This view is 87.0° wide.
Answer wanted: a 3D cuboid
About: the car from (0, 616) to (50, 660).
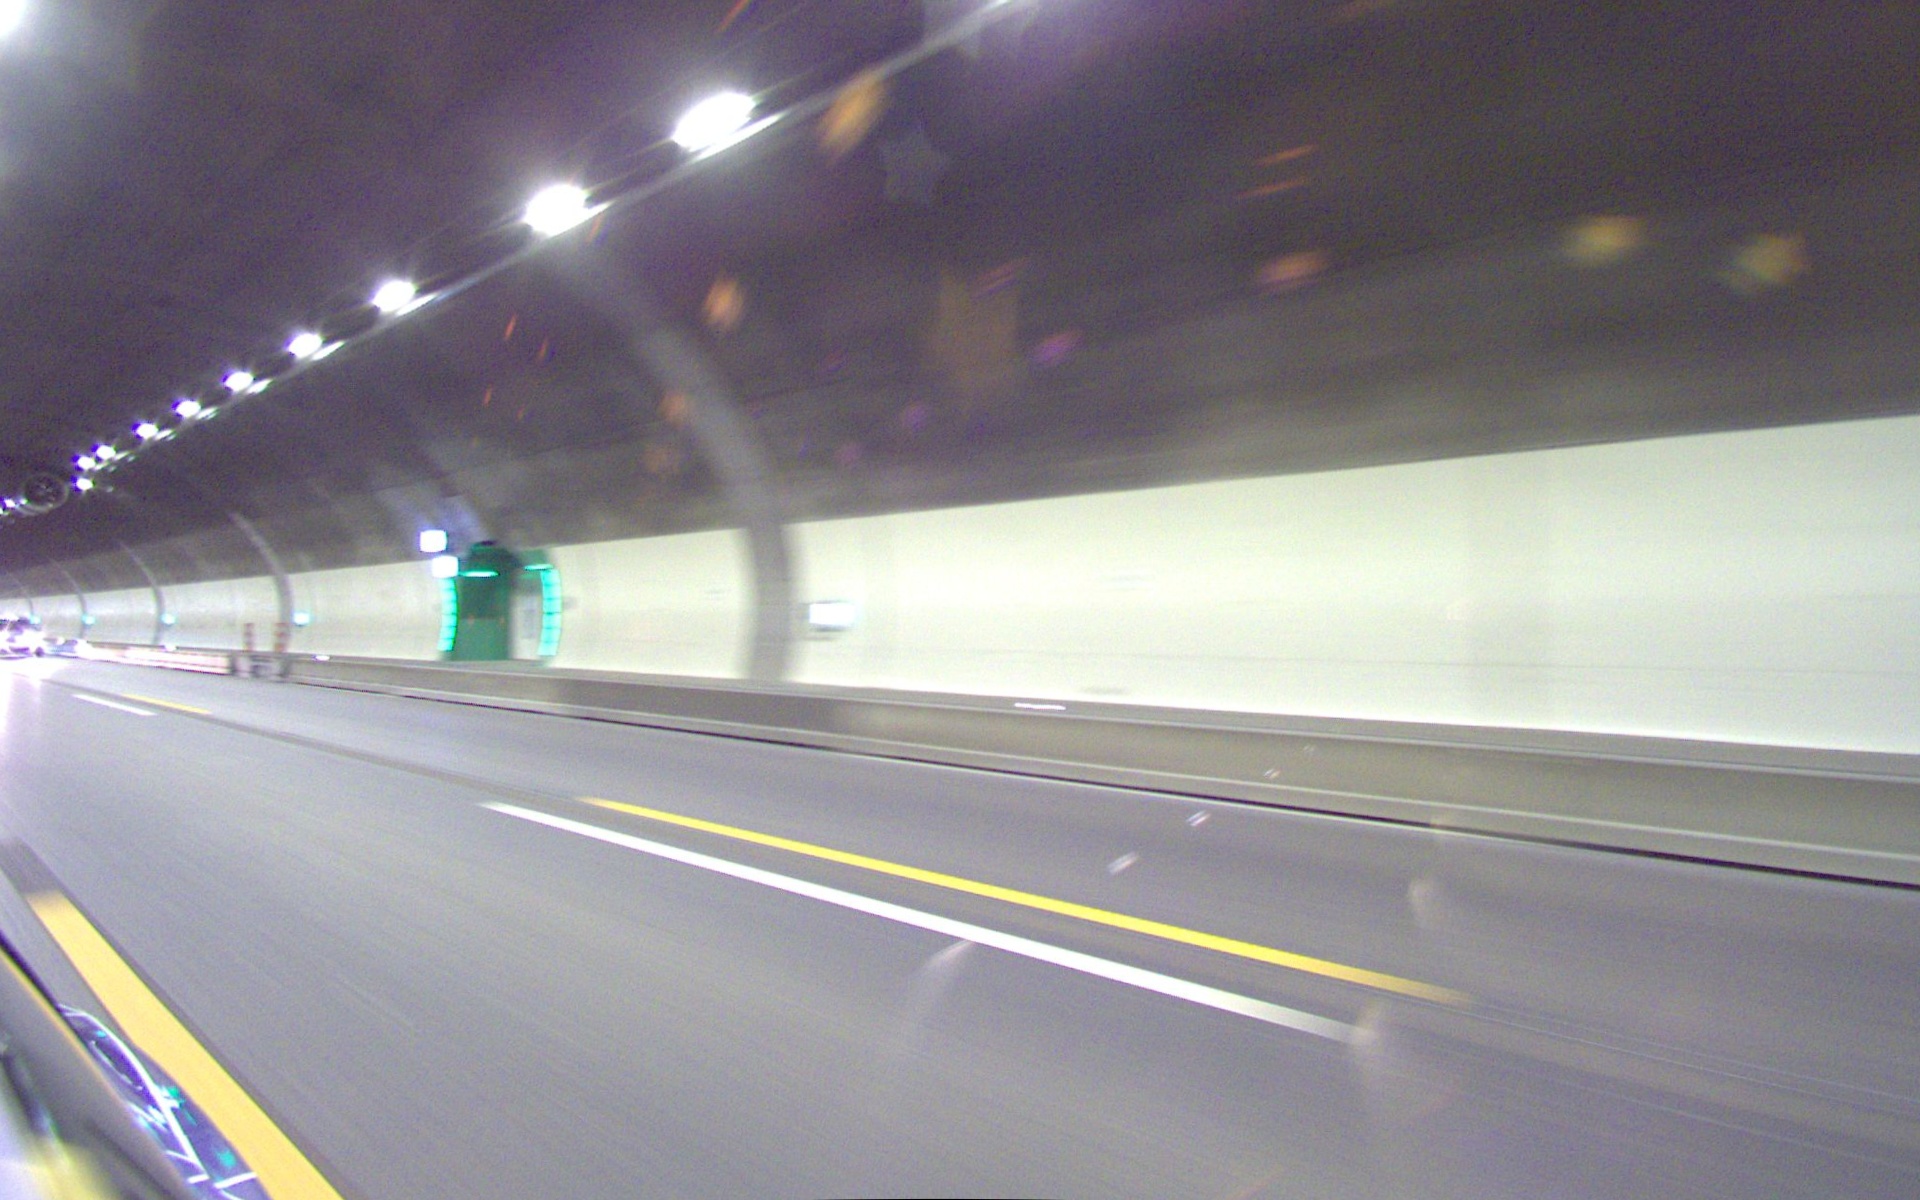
[{"bbox_3d":[-36.938,1.454,39.384,4.095,1.584,1.744,-1,1,41],"label":"car"}]
